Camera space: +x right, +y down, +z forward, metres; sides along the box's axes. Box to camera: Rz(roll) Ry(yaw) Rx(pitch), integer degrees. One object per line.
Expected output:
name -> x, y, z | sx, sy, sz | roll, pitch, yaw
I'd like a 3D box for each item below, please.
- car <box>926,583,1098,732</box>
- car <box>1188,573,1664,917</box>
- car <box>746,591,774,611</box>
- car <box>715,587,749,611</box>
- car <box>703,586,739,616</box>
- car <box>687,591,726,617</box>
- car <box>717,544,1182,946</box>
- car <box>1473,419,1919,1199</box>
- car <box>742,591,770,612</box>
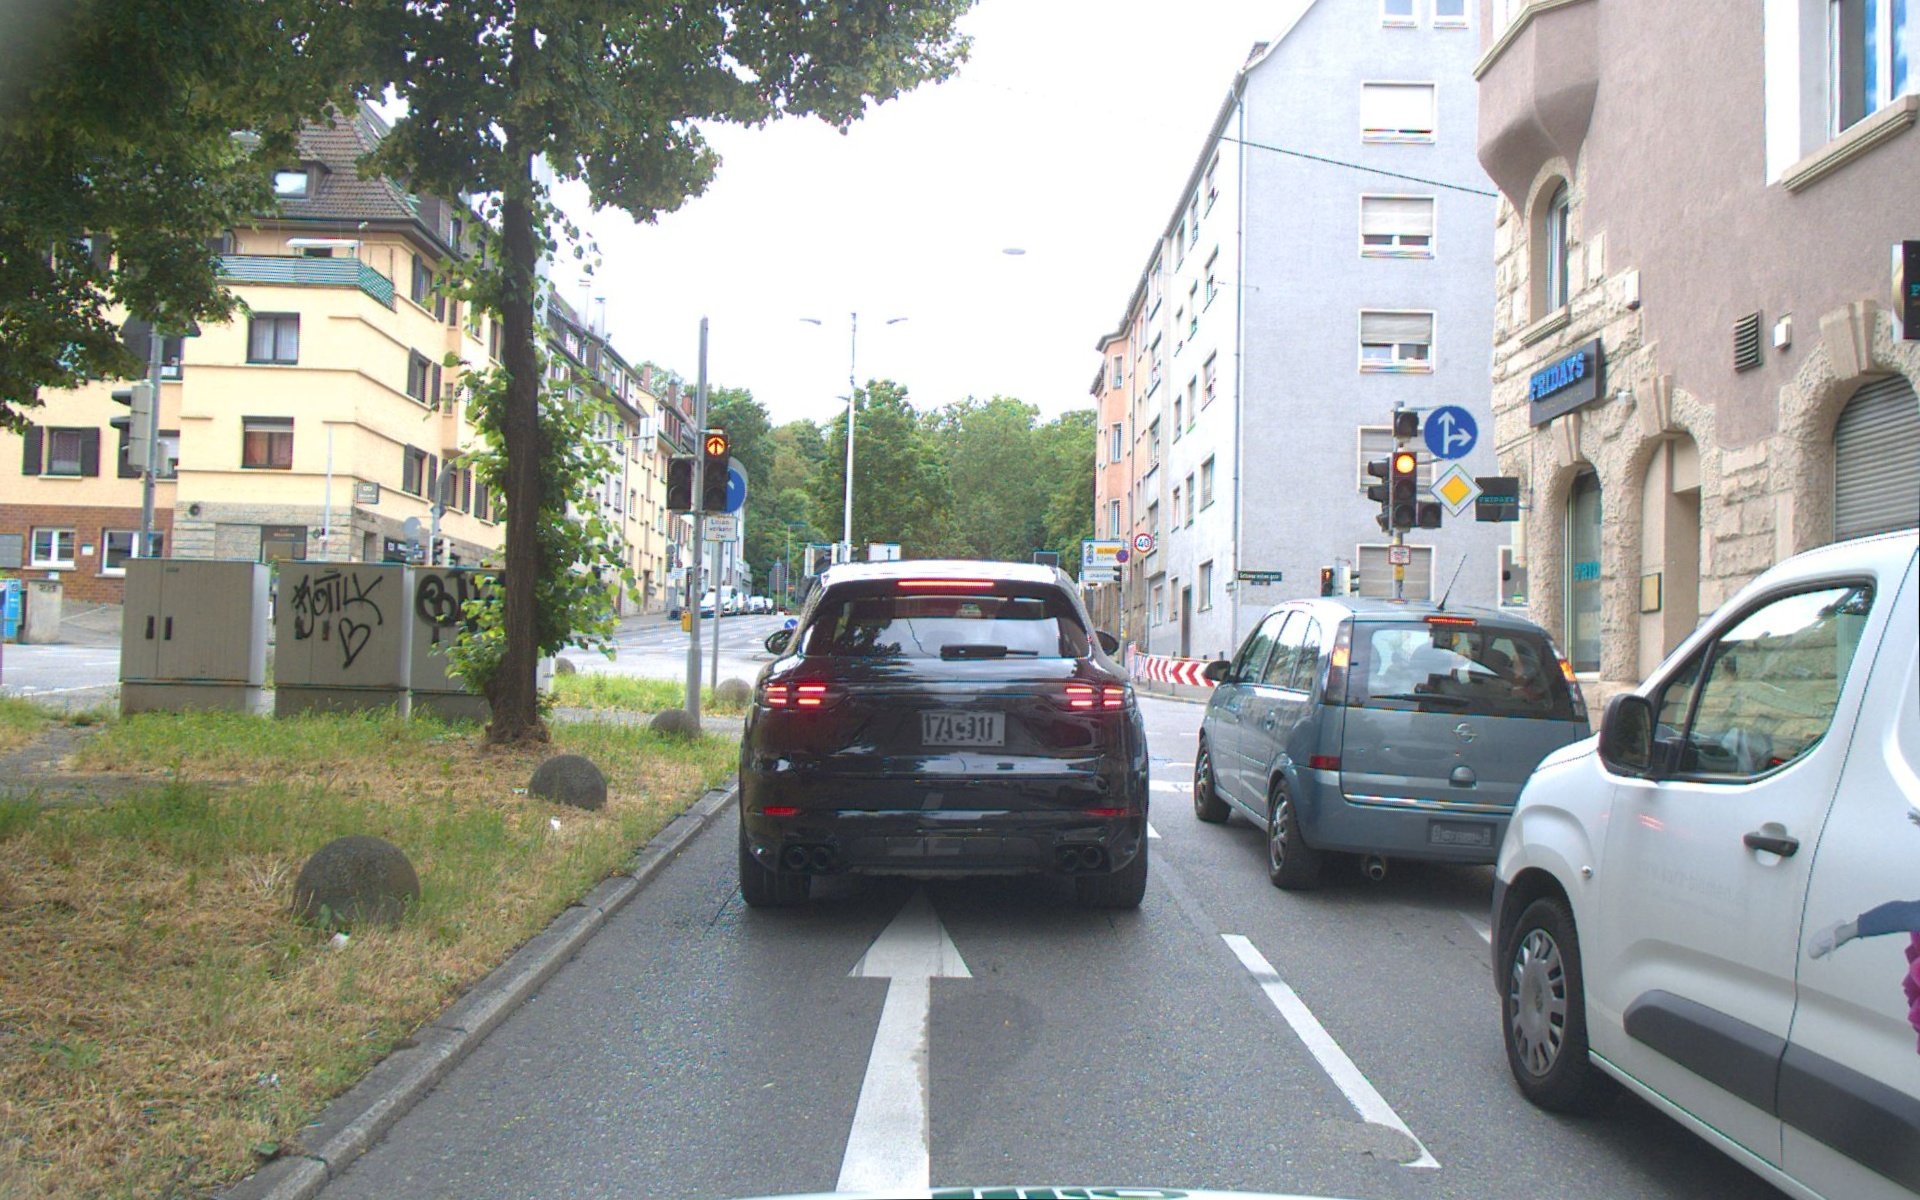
car -> 0.617, 0.674, 20.854 | 1.953, 1.682, 4.000 | 1, -1, 1
car -> 2.615, 0.741, 10.185 | 1.717, 1.621, 3.629 | 4, 0, -2
car -> -15.936, 0.066, 131.836 | 1.758, 1.536, 3.999 | 1, 0, -1
car -> -15.260, -0.088, 110.795 | 1.758, 1.536, 3.999 | 1, 0, -1
car -> -15.233, 0.035, 105.566 | 1.758, 1.841, 3.999 | 1, 0, -1
car -> -15.392, 0.223, 100.539 | 1.758, 1.536, 3.999 | 1, 0, -1
car -> -0.020, 0.593, 8.993 | 1.953, 1.681, 4.000 | 1, 1, 1
car -> 2.738, 0.641, 3.801 | 1.811, 1.857, 5.022 | 2, -1, 4
car -> -15.645, 0.090, 126.944 | 1.758, 1.536, 3.999 | 1, 0, -1
